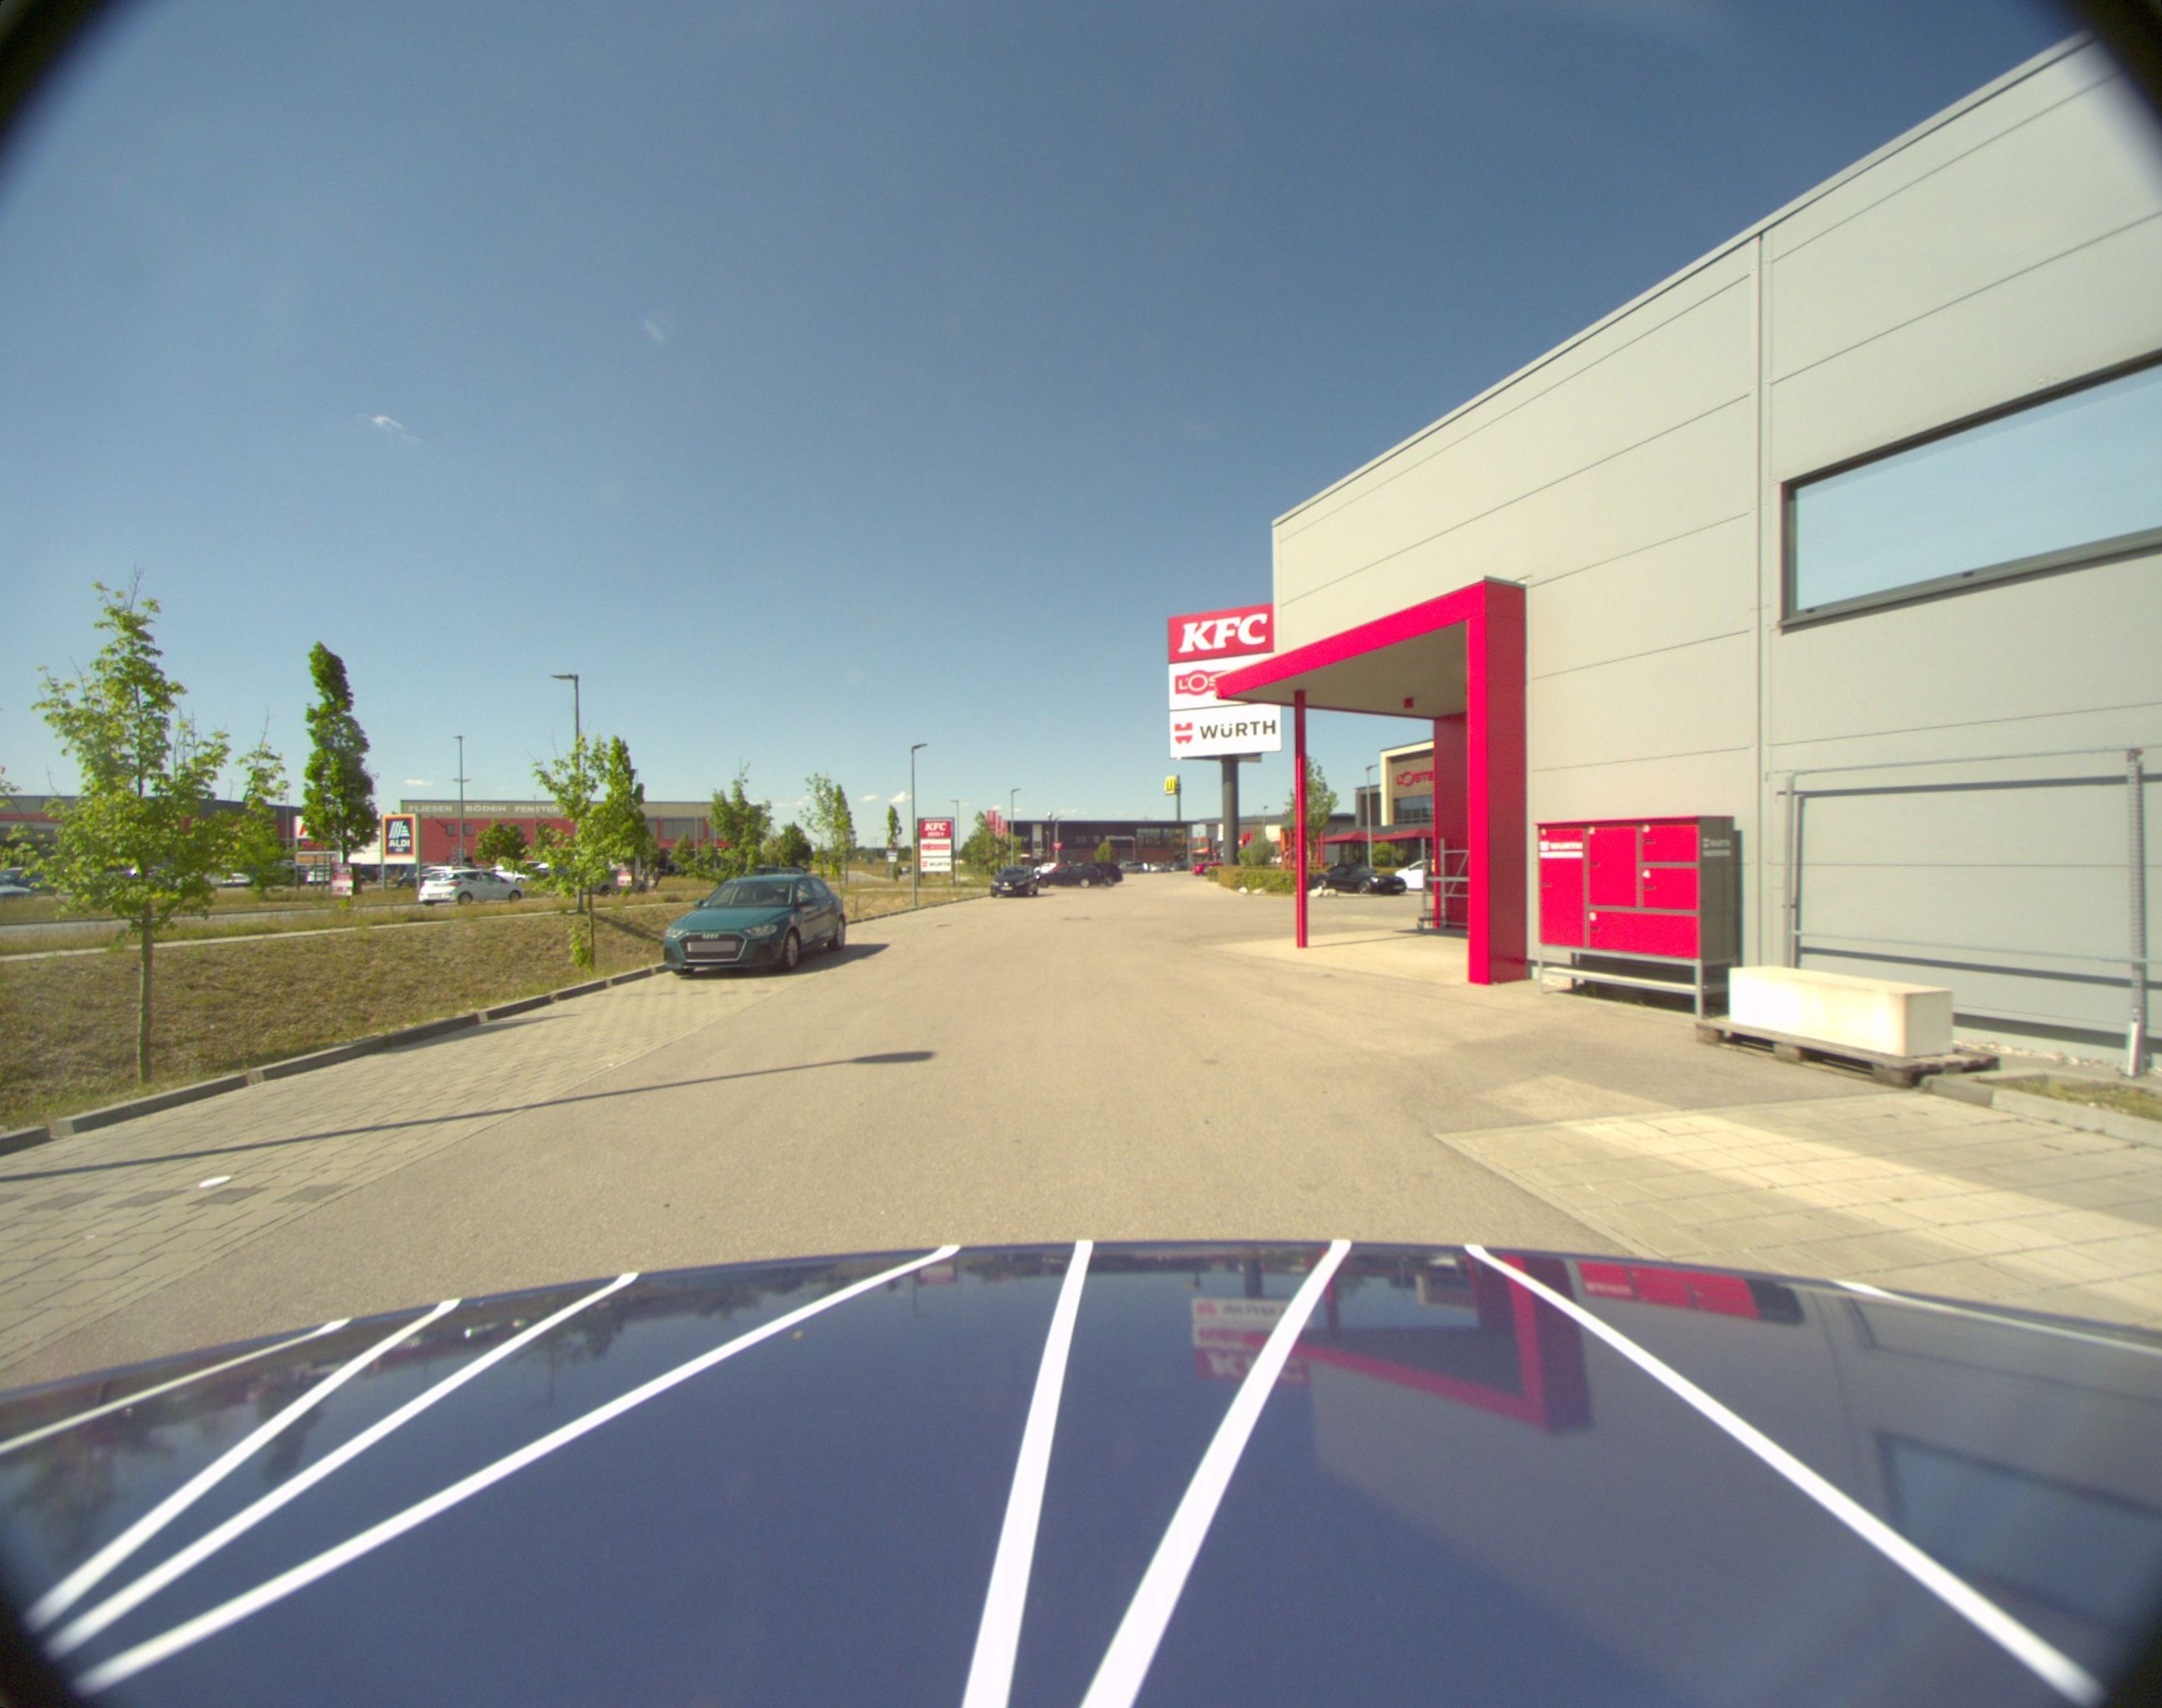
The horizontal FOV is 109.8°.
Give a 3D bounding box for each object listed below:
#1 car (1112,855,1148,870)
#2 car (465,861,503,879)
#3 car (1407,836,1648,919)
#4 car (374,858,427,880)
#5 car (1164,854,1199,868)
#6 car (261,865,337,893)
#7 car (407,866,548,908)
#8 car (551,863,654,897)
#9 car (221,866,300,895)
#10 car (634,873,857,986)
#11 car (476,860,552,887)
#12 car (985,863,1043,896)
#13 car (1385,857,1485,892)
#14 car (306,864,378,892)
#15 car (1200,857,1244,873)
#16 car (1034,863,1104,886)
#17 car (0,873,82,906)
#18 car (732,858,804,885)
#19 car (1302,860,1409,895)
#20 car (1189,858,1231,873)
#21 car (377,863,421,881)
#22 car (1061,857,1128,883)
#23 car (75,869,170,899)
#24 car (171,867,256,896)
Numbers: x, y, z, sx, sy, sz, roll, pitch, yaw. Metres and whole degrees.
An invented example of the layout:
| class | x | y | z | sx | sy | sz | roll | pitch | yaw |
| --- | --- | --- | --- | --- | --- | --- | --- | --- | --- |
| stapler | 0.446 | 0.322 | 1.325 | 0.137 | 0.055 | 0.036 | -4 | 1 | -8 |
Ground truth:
| class | x | y | z | sx | sy | sz | roll | pitch | yaw |
| --- | --- | --- | --- | --- | --- | --- | --- | --- | --- |
| car | 6.817 | 1.219 | 105.865 | 4.487 | 2.002 | 1.997 | -1 | 0 | -15 |
| car | -73.234 | 1.926 | 93.282 | 2.001 | 2.026 | 4.479 | -1 | 0 | -14 |
| car | 11.716 | 0.563 | 20.472 | 2.034 | 1.927 | 5.370 | -1 | 0 | -26 |
| car | -67.285 | 1.475 | 75.267 | 2.001 | 2.026 | 4.479 | -1 | 0 | -14 |
| car | 14.590 | 1.035 | 110.525 | 4.487 | 2.002 | 1.997 | -1 | 0 | -15 |
| car | -60.557 | 1.917 | 58.938 | 2.001 | 2.026 | 4.479 | -1 | 0 | -14 |
| car | -25.505 | 1.350 | 32.390 | 1.945 | 1.542 | 4.762 | -1 | 0 | 4 |
| car | -24.842 | 1.313 | 39.699 | 1.944 | 1.542 | 4.764 | -1 | 0 | 7 |
| car | -63.279 | 1.985 | 58.715 | 2.001 | 2.026 | 4.479 | -1 | 0 | -14 |
| car | -5.222 | 1.086 | 12.521 | 1.845 | 1.441 | 4.226 | -1 | 0 | -1 |
| car | -45.577 | 1.545 | 61.182 | 4.482 | 2.026 | 1.999 | -1 | 0 | -3 |
| car | -3.139 | 1.200 | 36.718 | 1.876 | 1.457 | 4.367 | -1 | 0 | 7 |
| car | 15.950 | 0.878 | 34.455 | 1.805 | 1.466 | 3.907 | -1 | 0 | -22 |
| car | -57.799 | 1.849 | 59.553 | 2.001 | 2.026 | 4.479 | -1 | 0 | -14 |
| car | 14.894 | 1.169 | 80.239 | 4.099 | 1.556 | 1.876 | -1 | 0 | -15 |
| car | -0.780 | 1.323 | 50.301 | 4.530 | 1.450 | 2.000 | -1 | 0 | 1 |
| car | -61.749 | 2.035 | 44.252 | 2.001 | 1.774 | 4.310 | -1 | 0 | -14 |
| car | -19.909 | 1.078 | 48.614 | 1.944 | 1.542 | 4.765 | -1 | 0 | 10 |
| car | 11.580 | 0.957 | 32.308 | 1.833 | 1.330 | 4.145 | -1 | 0 | -27 |
| car | 14.044 | 1.240 | 82.831 | 4.099 | 1.556 | 1.876 | -1 | 0 | -15 |
| car | -81.603 | 2.131 | 91.018 | 2.001 | 2.026 | 4.479 | -1 | 0 | -14 |
| car | 1.002 | 1.149 | 54.336 | 4.526 | 1.825 | 2.002 | -1 | 0 | 11 |
| car | -70.725 | 2.166 | 56.203 | 2.001 | 2.026 | 4.479 | -1 | 0 | -14 |
| car | -65.724 | 2.044 | 57.674 | 2.001 | 2.026 | 4.479 | -1 | 0 | -14 |
